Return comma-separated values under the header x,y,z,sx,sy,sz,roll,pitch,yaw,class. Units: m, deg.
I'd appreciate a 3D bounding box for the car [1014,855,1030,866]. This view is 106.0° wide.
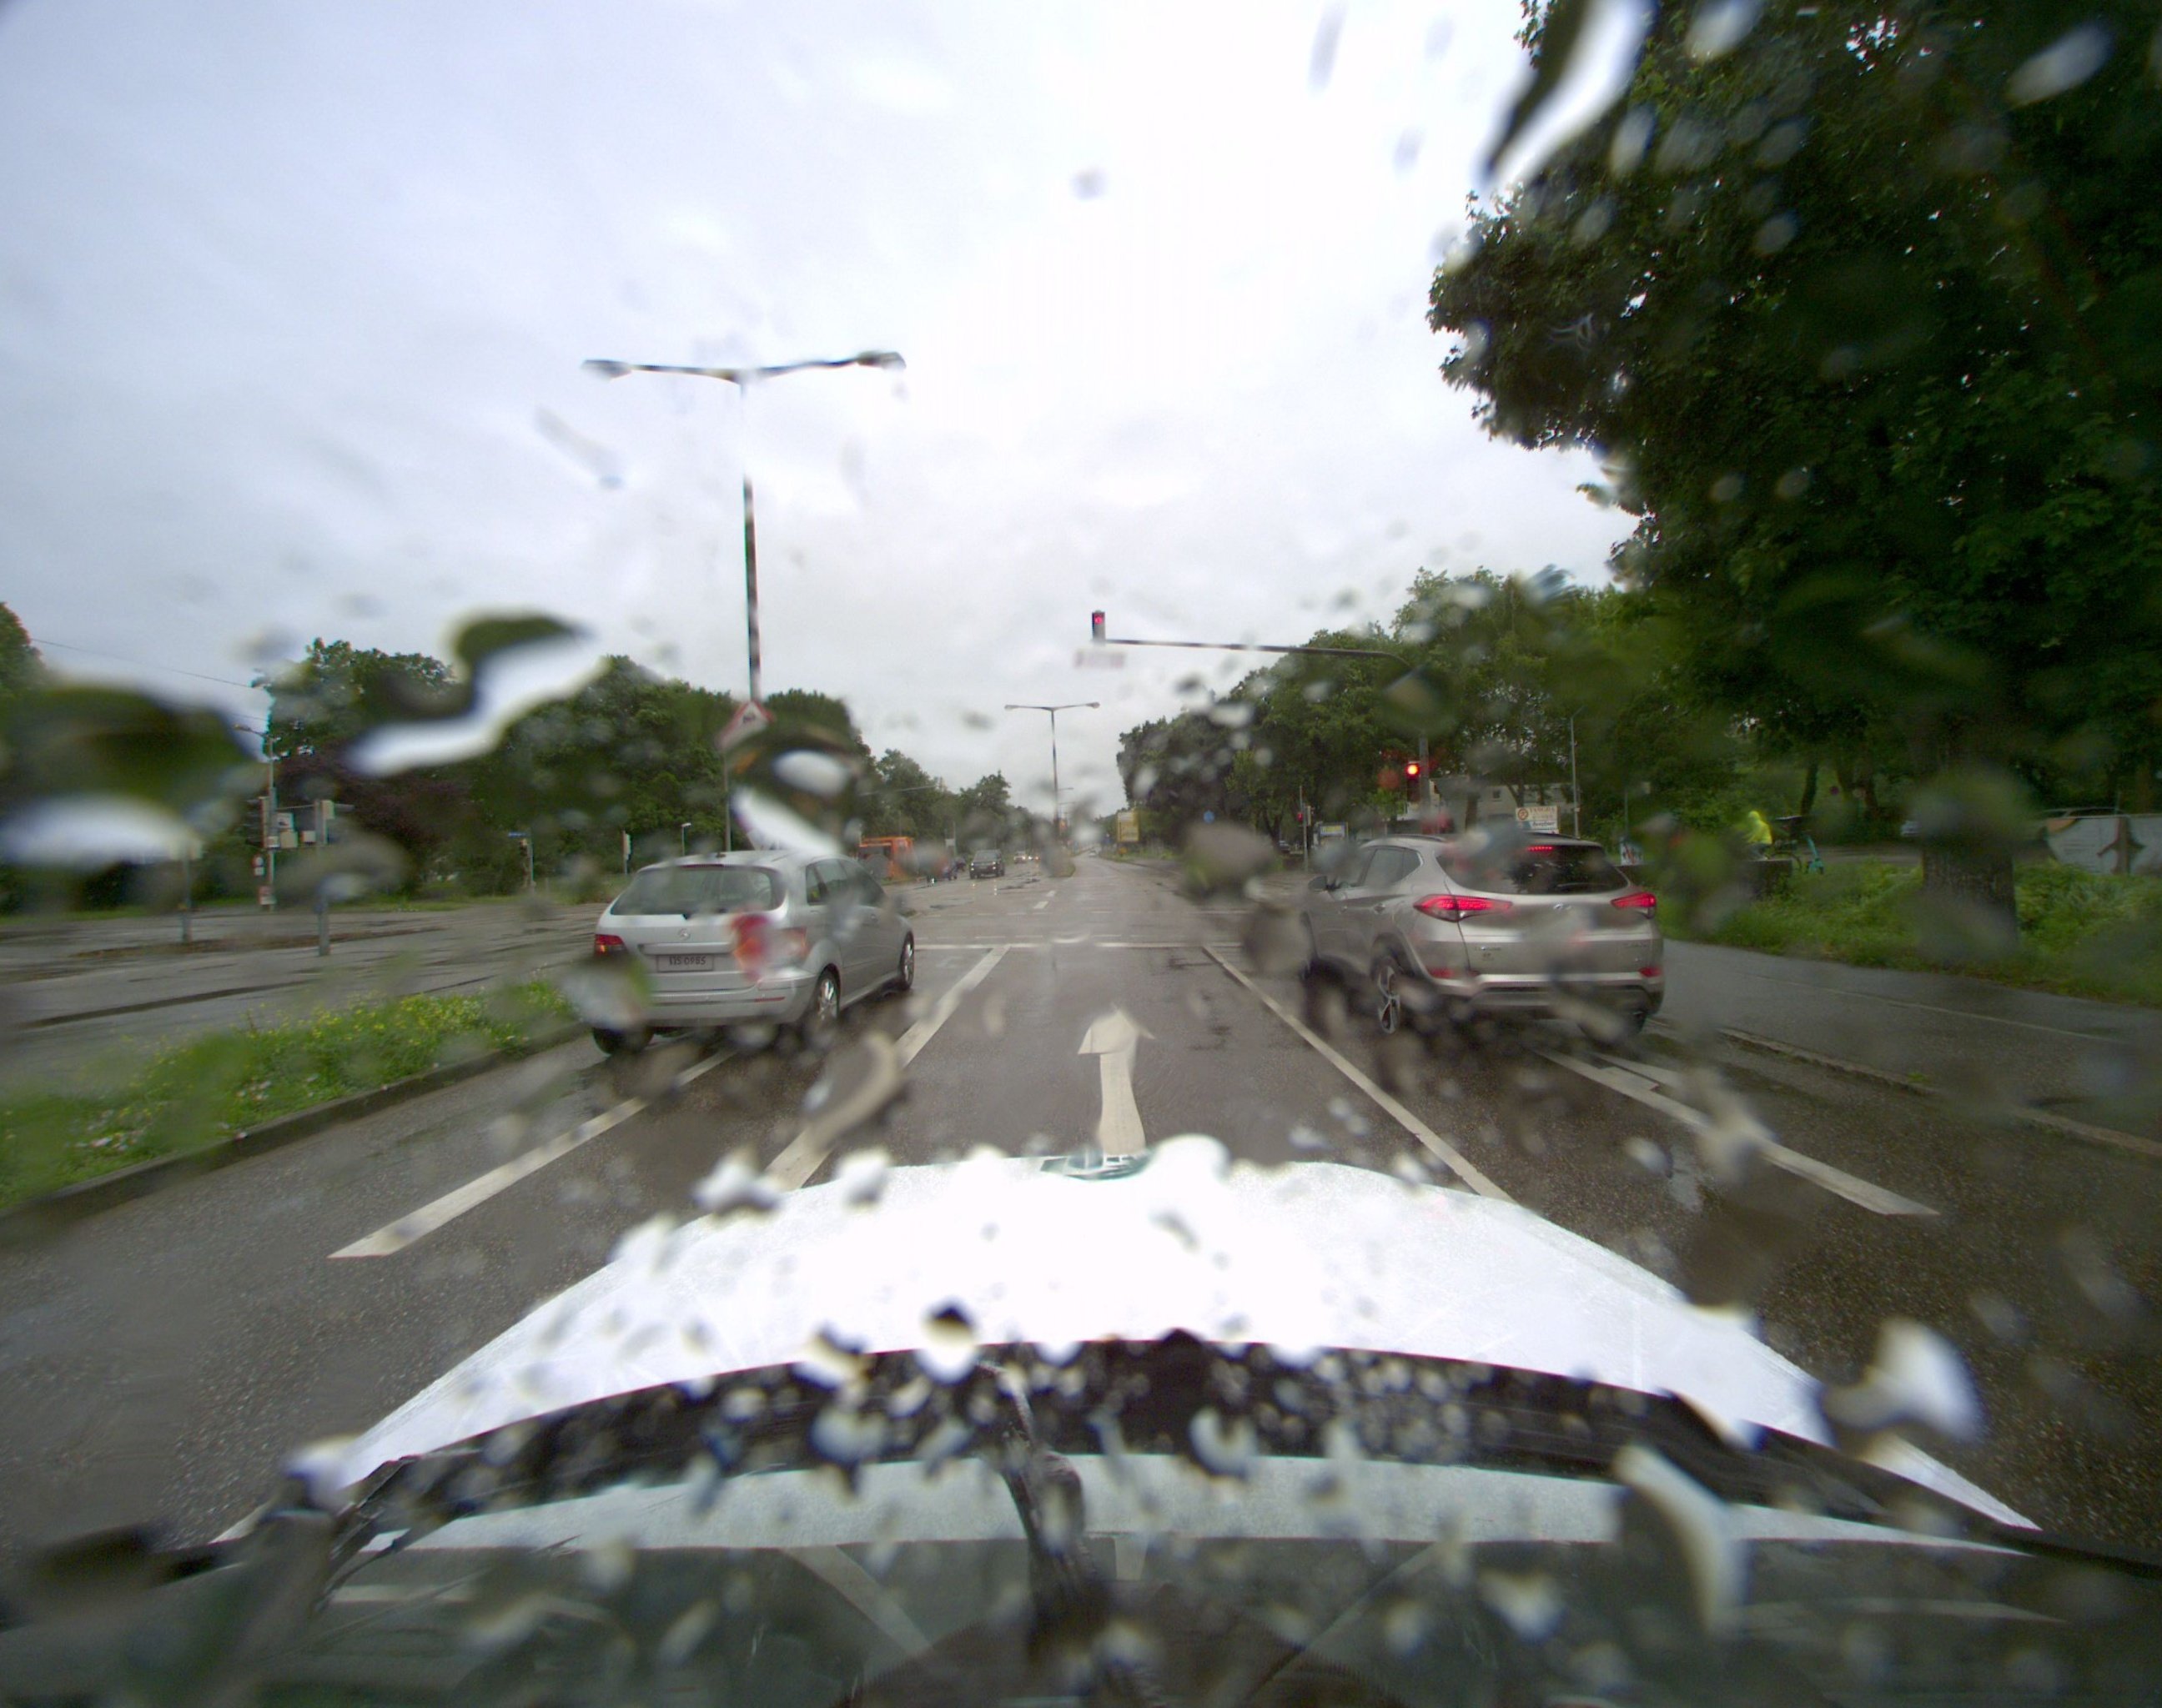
x,y,z,sx,sy,sz,roll,pitch,yaw,class
-9.254,0.967,127.910,1.887,1.611,4.501,-2,0,1,car

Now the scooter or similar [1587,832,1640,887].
x,y,z,sx,sy,sz,roll,pitch,yaw,class
12.285,0.127,18.789,0.953,1.229,0.322,-2,0,5,scooter or similar

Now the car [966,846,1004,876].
x,y,z,sx,sy,sz,roll,pitch,yaw,class
-6.373,0.448,54.763,1.800,1.773,5.089,-4,0,0,car

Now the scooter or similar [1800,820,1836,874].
x,y,z,sx,sy,sz,roll,pitch,yaw,class
16.306,-0.155,18.019,0.284,1.176,0.561,-2,0,8,scooter or similar

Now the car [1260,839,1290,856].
x,y,z,sx,sy,sz,roll,pitch,yaw,class
21.054,-0.701,88.666,1.988,1.717,4.876,-3,0,-1,car

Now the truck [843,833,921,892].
x,y,z,sx,sy,sz,roll,pitch,yaw,class
-15.329,0.640,63.722,3.373,4.167,10.406,0,0,0,truck

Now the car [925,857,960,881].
x,y,z,sx,sy,sz,roll,pitch,yaw,class
-9.111,0.982,53.904,1.636,1.427,3.997,-4,0,-1,car

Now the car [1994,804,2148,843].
x,y,z,sx,sy,sz,roll,pitch,yaw,class
44.480,-1.364,36.658,4.570,1.630,1.926,0,0,0,car

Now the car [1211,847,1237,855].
x,y,z,sx,sy,sz,roll,pitch,yaw,class
28.013,-0.594,159.651,4.562,1.645,1.996,0,0,-5,car

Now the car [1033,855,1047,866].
x,y,z,sx,sy,sz,roll,pitch,yaw,class
-6.440,0.965,128.165,1.795,1.569,4.428,-4,-1,0,car

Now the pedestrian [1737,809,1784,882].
x,y,z,sx,sy,sz,roll,pitch,yaw,class
16.400,-0.203,19.656,0.794,1.678,0.661,-6,0,-44,pedestrian

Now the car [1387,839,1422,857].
x,y,z,sx,sy,sz,roll,pitch,yaw,class
26.816,-0.489,67.396,1.648,1.449,3.776,-1,0,39,car

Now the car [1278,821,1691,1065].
x,y,z,sx,sy,sz,roll,pitch,yaw,class
3.218,0.611,7.581,1.877,1.610,4.198,-1,0,2,car

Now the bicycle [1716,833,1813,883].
x,y,z,sx,sy,sz,roll,pitch,yaw,class
16.458,0.102,19.621,0.794,1.038,1.644,-6,0,-44,bicycle

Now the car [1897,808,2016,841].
x,y,z,sx,sy,sz,roll,pitch,yaw,class
45.142,-1.504,42.036,4.583,1.583,1.921,0,0,-8,car

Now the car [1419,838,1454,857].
x,y,z,sx,sy,sz,roll,pitch,yaw,class
28.777,-0.511,65.946,1.648,1.449,3.776,-1,0,39,car

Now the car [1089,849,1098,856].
x,y,z,sx,sy,sz,roll,pitch,yaw,class
2.745,-0.321,181.207,1.900,1.515,4.001,-2,0,1,car

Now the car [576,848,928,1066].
x,y,z,sx,sy,sz,roll,pitch,yaw,class
-2.782,0.749,7.959,1.730,1.544,4.013,-2,0,1,car

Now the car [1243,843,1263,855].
x,y,z,sx,sy,sz,roll,pitch,yaw,class
21.543,-0.607,102.073,1.633,1.486,4.070,0,0,-1,car

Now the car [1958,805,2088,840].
x,y,z,sx,sy,sz,roll,pitch,yaw,class
45.381,-1.520,39.277,4.583,1.583,1.921,0,0,-8,car

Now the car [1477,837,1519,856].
x,y,z,sx,sy,sz,roll,pitch,yaw,class
31.977,-0.554,62.387,3.772,1.449,1.584,0,-1,-42,car
